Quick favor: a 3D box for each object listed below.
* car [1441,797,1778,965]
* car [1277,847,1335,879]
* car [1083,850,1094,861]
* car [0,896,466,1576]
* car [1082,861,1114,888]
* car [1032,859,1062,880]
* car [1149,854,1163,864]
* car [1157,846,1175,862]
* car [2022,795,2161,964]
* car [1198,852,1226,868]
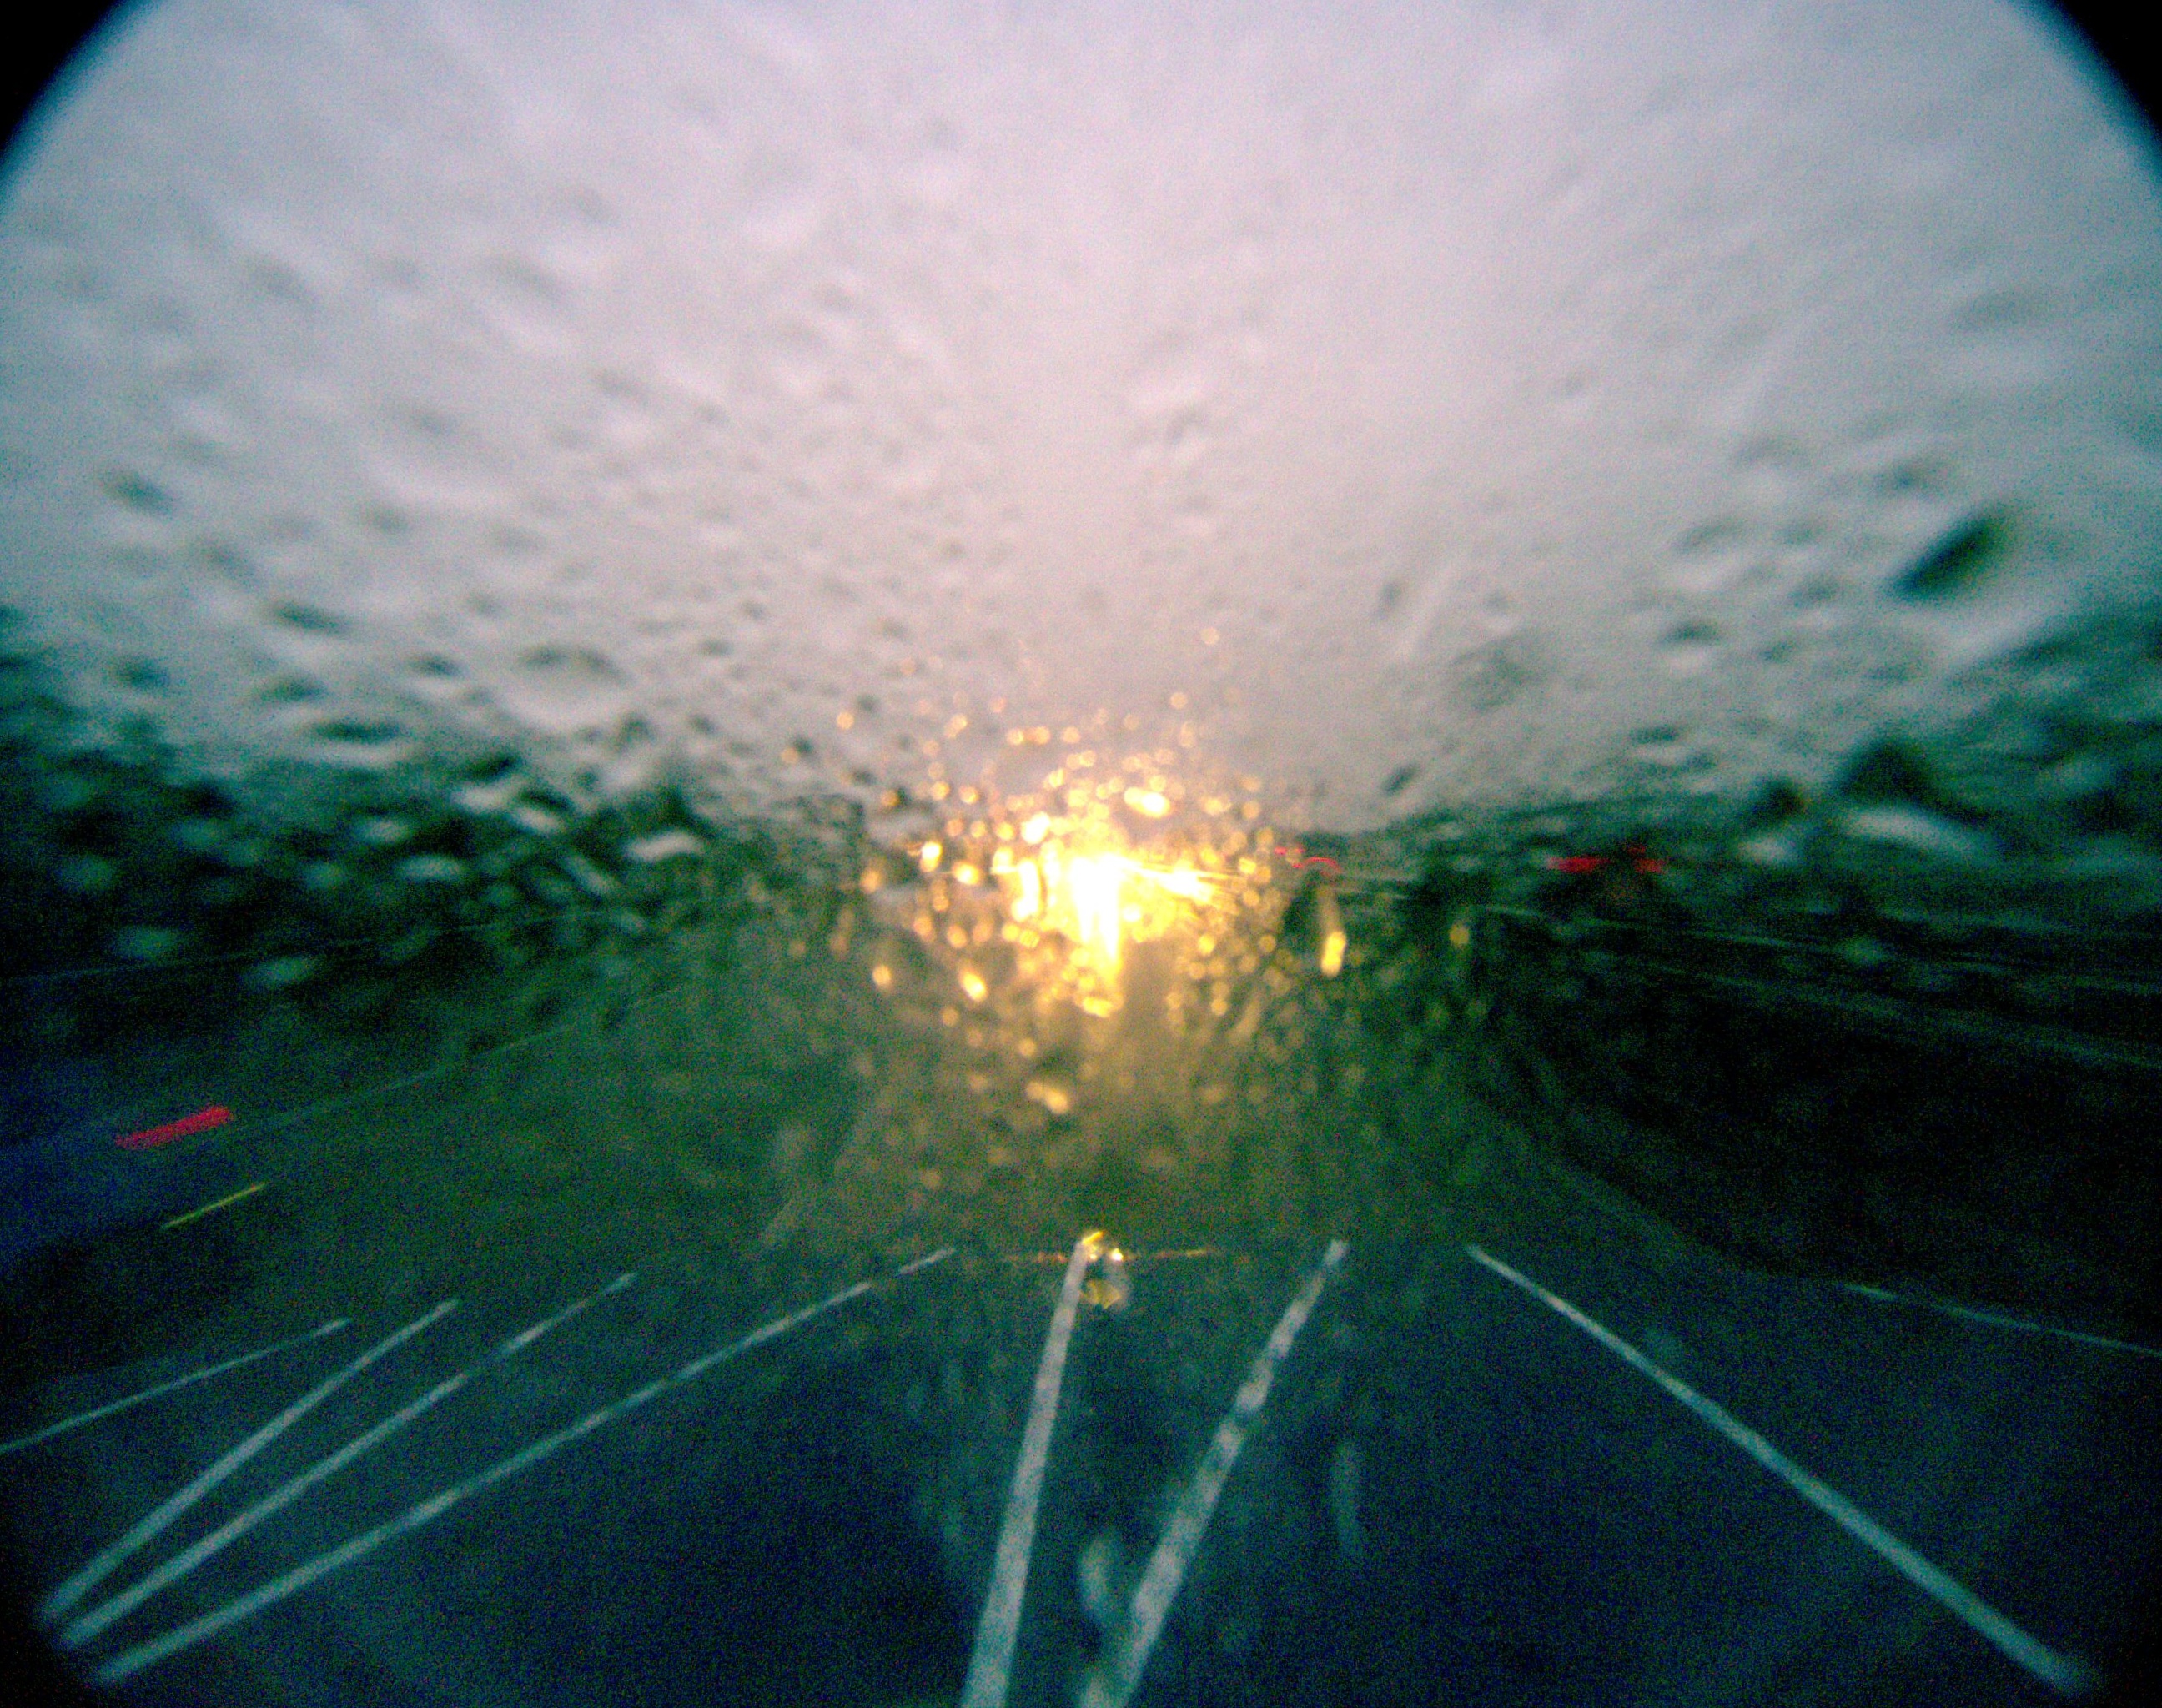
[{"bbox_3d":[7.918,0.336,12.136,2.075,2.102,4.762,-2,0,1],"label":"car"},{"bbox_3d":[13.446,0.500,45.684,2.075,1.781,4.847,-2,0,1],"label":"car"},{"bbox_3d":[1.444,0.216,141.513,1.998,2.002,4.000,-2,0,1],"label":"car"},{"bbox_3d":[-3.408,0.969,0.926,1.850,1.445,4.147,-2,1,0],"label":"car"},{"bbox_3d":[1.089,1.265,47.138,1.850,1.521,4.150,-2,-1,2],"label":"car"},{"bbox_3d":[-2.565,1.188,58.308,1.850,1.521,4.150,-2,-1,3],"label":"car"},{"bbox_3d":[11.611,0.780,117.861,1.998,1.542,4.138,-2,-1,3],"label":"car"},{"bbox_3d":[9.157,0.009,81.935,1.821,1.542,4.471,-2,-1,6],"label":"car"},{"bbox_3d":[12.408,0.249,7.021,2.075,1.781,4.339,-2,0,1],"label":"car"},{"bbox_3d":[13.185,0.651,76.721,1.989,1.542,4.392,-2,-1,0],"label":"car"}]
